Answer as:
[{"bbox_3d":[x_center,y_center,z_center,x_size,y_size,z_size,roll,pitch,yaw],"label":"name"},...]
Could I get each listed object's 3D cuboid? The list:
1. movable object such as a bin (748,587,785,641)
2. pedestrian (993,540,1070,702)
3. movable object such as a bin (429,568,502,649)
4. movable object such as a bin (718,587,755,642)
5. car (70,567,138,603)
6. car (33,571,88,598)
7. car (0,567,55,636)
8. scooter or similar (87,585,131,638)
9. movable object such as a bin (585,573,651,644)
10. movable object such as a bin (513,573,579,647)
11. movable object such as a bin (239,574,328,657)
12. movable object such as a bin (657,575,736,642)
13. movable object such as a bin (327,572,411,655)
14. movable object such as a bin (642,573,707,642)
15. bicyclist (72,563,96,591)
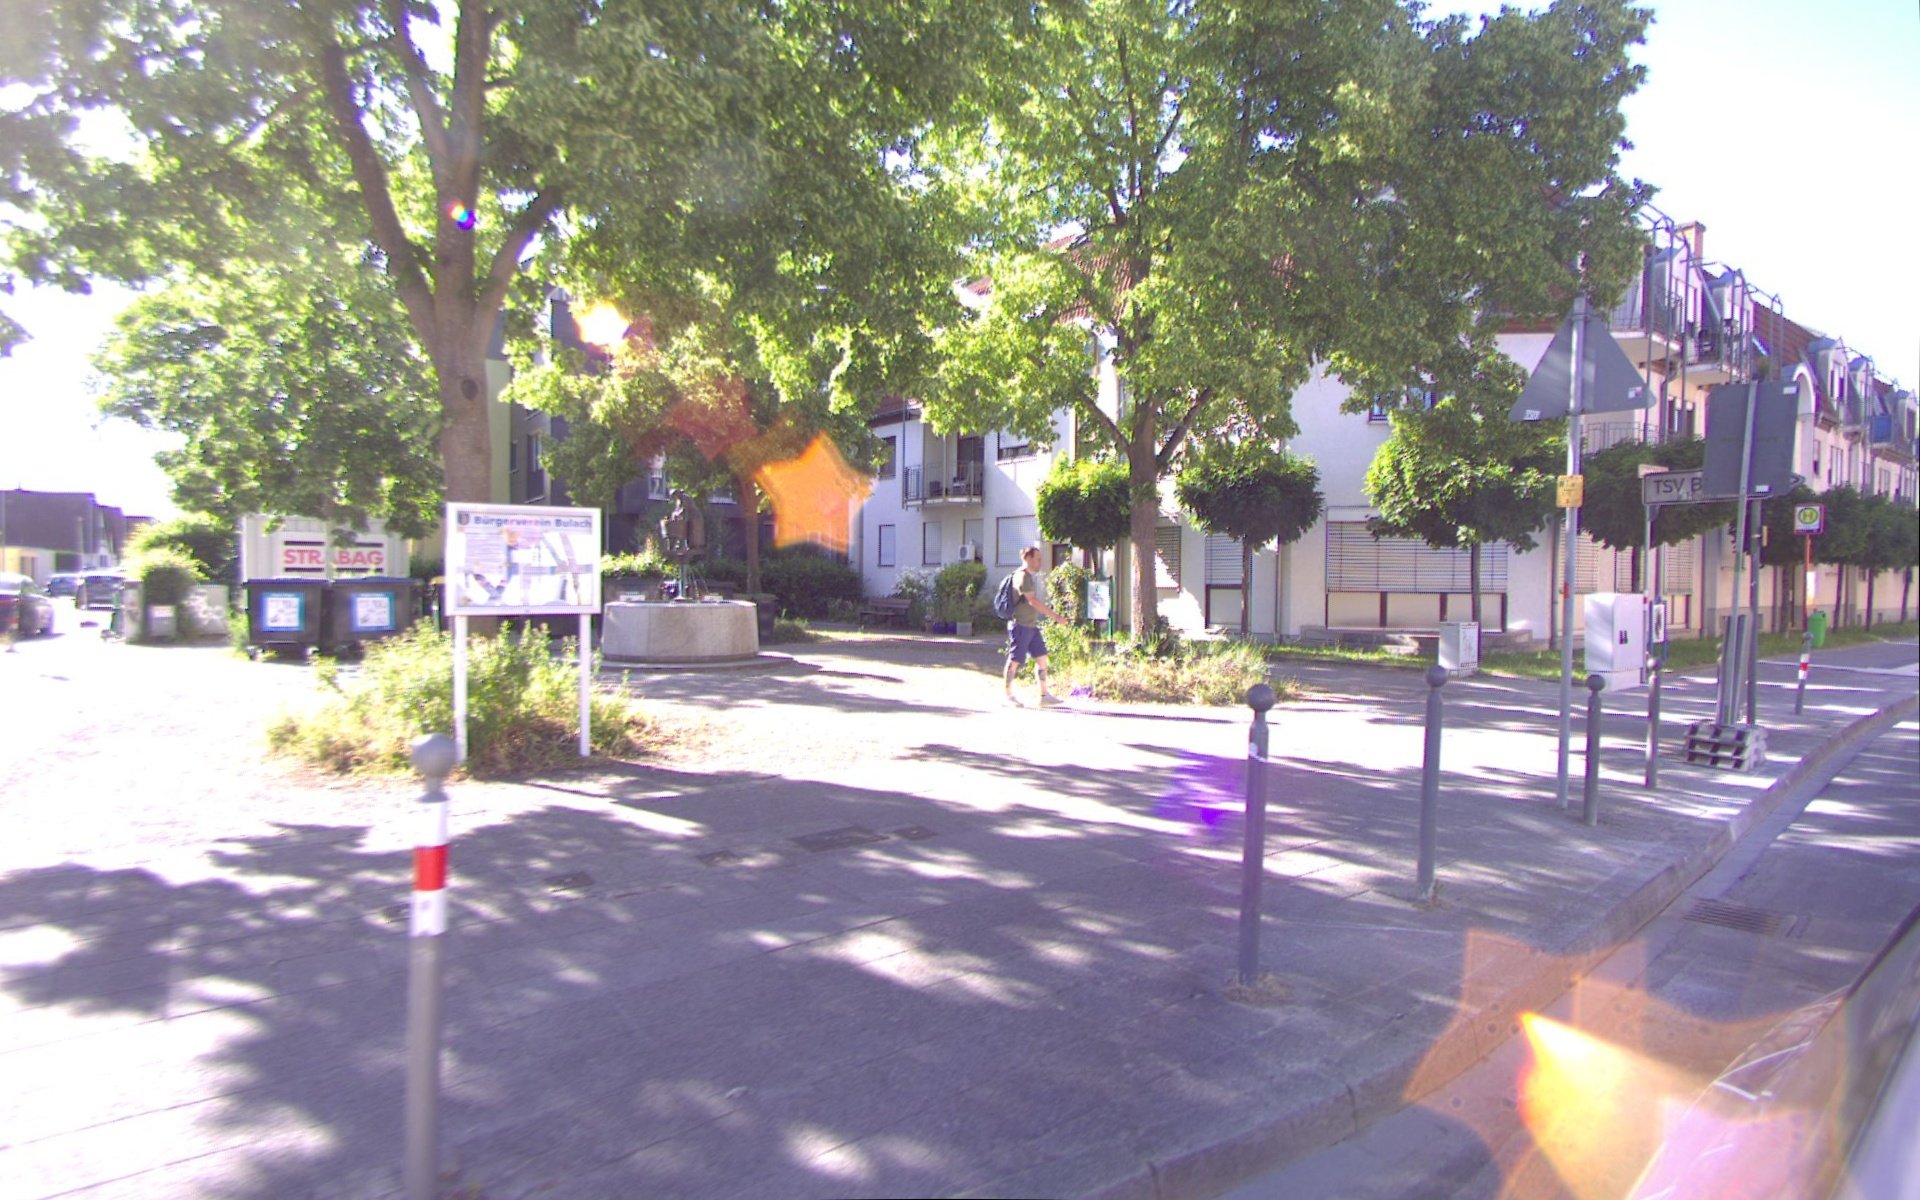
[{"bbox_3d":[-4.071,0.287,21.296,0.549,1.107,0.710,-1,-1,-28],"label":"movable object such as a bin"},{"bbox_3d":[0.778,0.220,11.199,0.812,1.738,0.660,0,1,2],"label":"pedestrian"},{"bbox_3d":[-8.597,0.139,17.585,1.083,1.357,0.973,-1,-1,-29],"label":"movable object such as a bin"},{"bbox_3d":[-4.626,0.298,20.953,0.549,1.107,0.710,-1,-1,-28],"label":"movable object such as a bin"},{"bbox_3d":[-34.427,-0.628,40.805,1.759,1.375,4.135,0,1,-36],"label":"car"},{"bbox_3d":[-47.389,-0.836,53.383,1.759,1.375,4.135,0,1,-36],"label":"car"},{"bbox_3d":[-22.436,-0.009,23.416,1.759,1.493,4.135,0,1,-36],"label":"car"},{"bbox_3d":[-17.704,0.246,21.079,0.496,1.057,1.641,-1,-1,-33],"label":"scooter or similar"},{"bbox_3d":[-6.378,0.152,18.851,0.995,1.271,0.973,-1,-1,-29],"label":"movable object such as a bin"},{"bbox_3d":[-7.460,0.176,18.229,0.995,1.271,0.973,-1,-1,-29],"label":"movable object such as a bin"},{"bbox_3d":[-10.837,0.217,16.257,1.083,1.271,0.973,-1,1,-29],"label":"movable object such as a bin"},{"bbox_3d":[-5.199,0.166,19.962,1.024,1.271,1.117,-2,-1,38],"label":"movable object such as a bin"},{"bbox_3d":[-9.542,0.215,16.379,1.124,1.275,0.973,-1,-1,-29],"label":"movable object such as a bin"},{"bbox_3d":[-5.468,0.148,19.359,0.995,1.271,0.973,-1,-1,-29],"label":"movable object such as a bin"},{"bbox_3d":[-40.255,-1.063,46.503,0.709,1.283,0.836,2,0,-36],"label":"bicyclist"}]
